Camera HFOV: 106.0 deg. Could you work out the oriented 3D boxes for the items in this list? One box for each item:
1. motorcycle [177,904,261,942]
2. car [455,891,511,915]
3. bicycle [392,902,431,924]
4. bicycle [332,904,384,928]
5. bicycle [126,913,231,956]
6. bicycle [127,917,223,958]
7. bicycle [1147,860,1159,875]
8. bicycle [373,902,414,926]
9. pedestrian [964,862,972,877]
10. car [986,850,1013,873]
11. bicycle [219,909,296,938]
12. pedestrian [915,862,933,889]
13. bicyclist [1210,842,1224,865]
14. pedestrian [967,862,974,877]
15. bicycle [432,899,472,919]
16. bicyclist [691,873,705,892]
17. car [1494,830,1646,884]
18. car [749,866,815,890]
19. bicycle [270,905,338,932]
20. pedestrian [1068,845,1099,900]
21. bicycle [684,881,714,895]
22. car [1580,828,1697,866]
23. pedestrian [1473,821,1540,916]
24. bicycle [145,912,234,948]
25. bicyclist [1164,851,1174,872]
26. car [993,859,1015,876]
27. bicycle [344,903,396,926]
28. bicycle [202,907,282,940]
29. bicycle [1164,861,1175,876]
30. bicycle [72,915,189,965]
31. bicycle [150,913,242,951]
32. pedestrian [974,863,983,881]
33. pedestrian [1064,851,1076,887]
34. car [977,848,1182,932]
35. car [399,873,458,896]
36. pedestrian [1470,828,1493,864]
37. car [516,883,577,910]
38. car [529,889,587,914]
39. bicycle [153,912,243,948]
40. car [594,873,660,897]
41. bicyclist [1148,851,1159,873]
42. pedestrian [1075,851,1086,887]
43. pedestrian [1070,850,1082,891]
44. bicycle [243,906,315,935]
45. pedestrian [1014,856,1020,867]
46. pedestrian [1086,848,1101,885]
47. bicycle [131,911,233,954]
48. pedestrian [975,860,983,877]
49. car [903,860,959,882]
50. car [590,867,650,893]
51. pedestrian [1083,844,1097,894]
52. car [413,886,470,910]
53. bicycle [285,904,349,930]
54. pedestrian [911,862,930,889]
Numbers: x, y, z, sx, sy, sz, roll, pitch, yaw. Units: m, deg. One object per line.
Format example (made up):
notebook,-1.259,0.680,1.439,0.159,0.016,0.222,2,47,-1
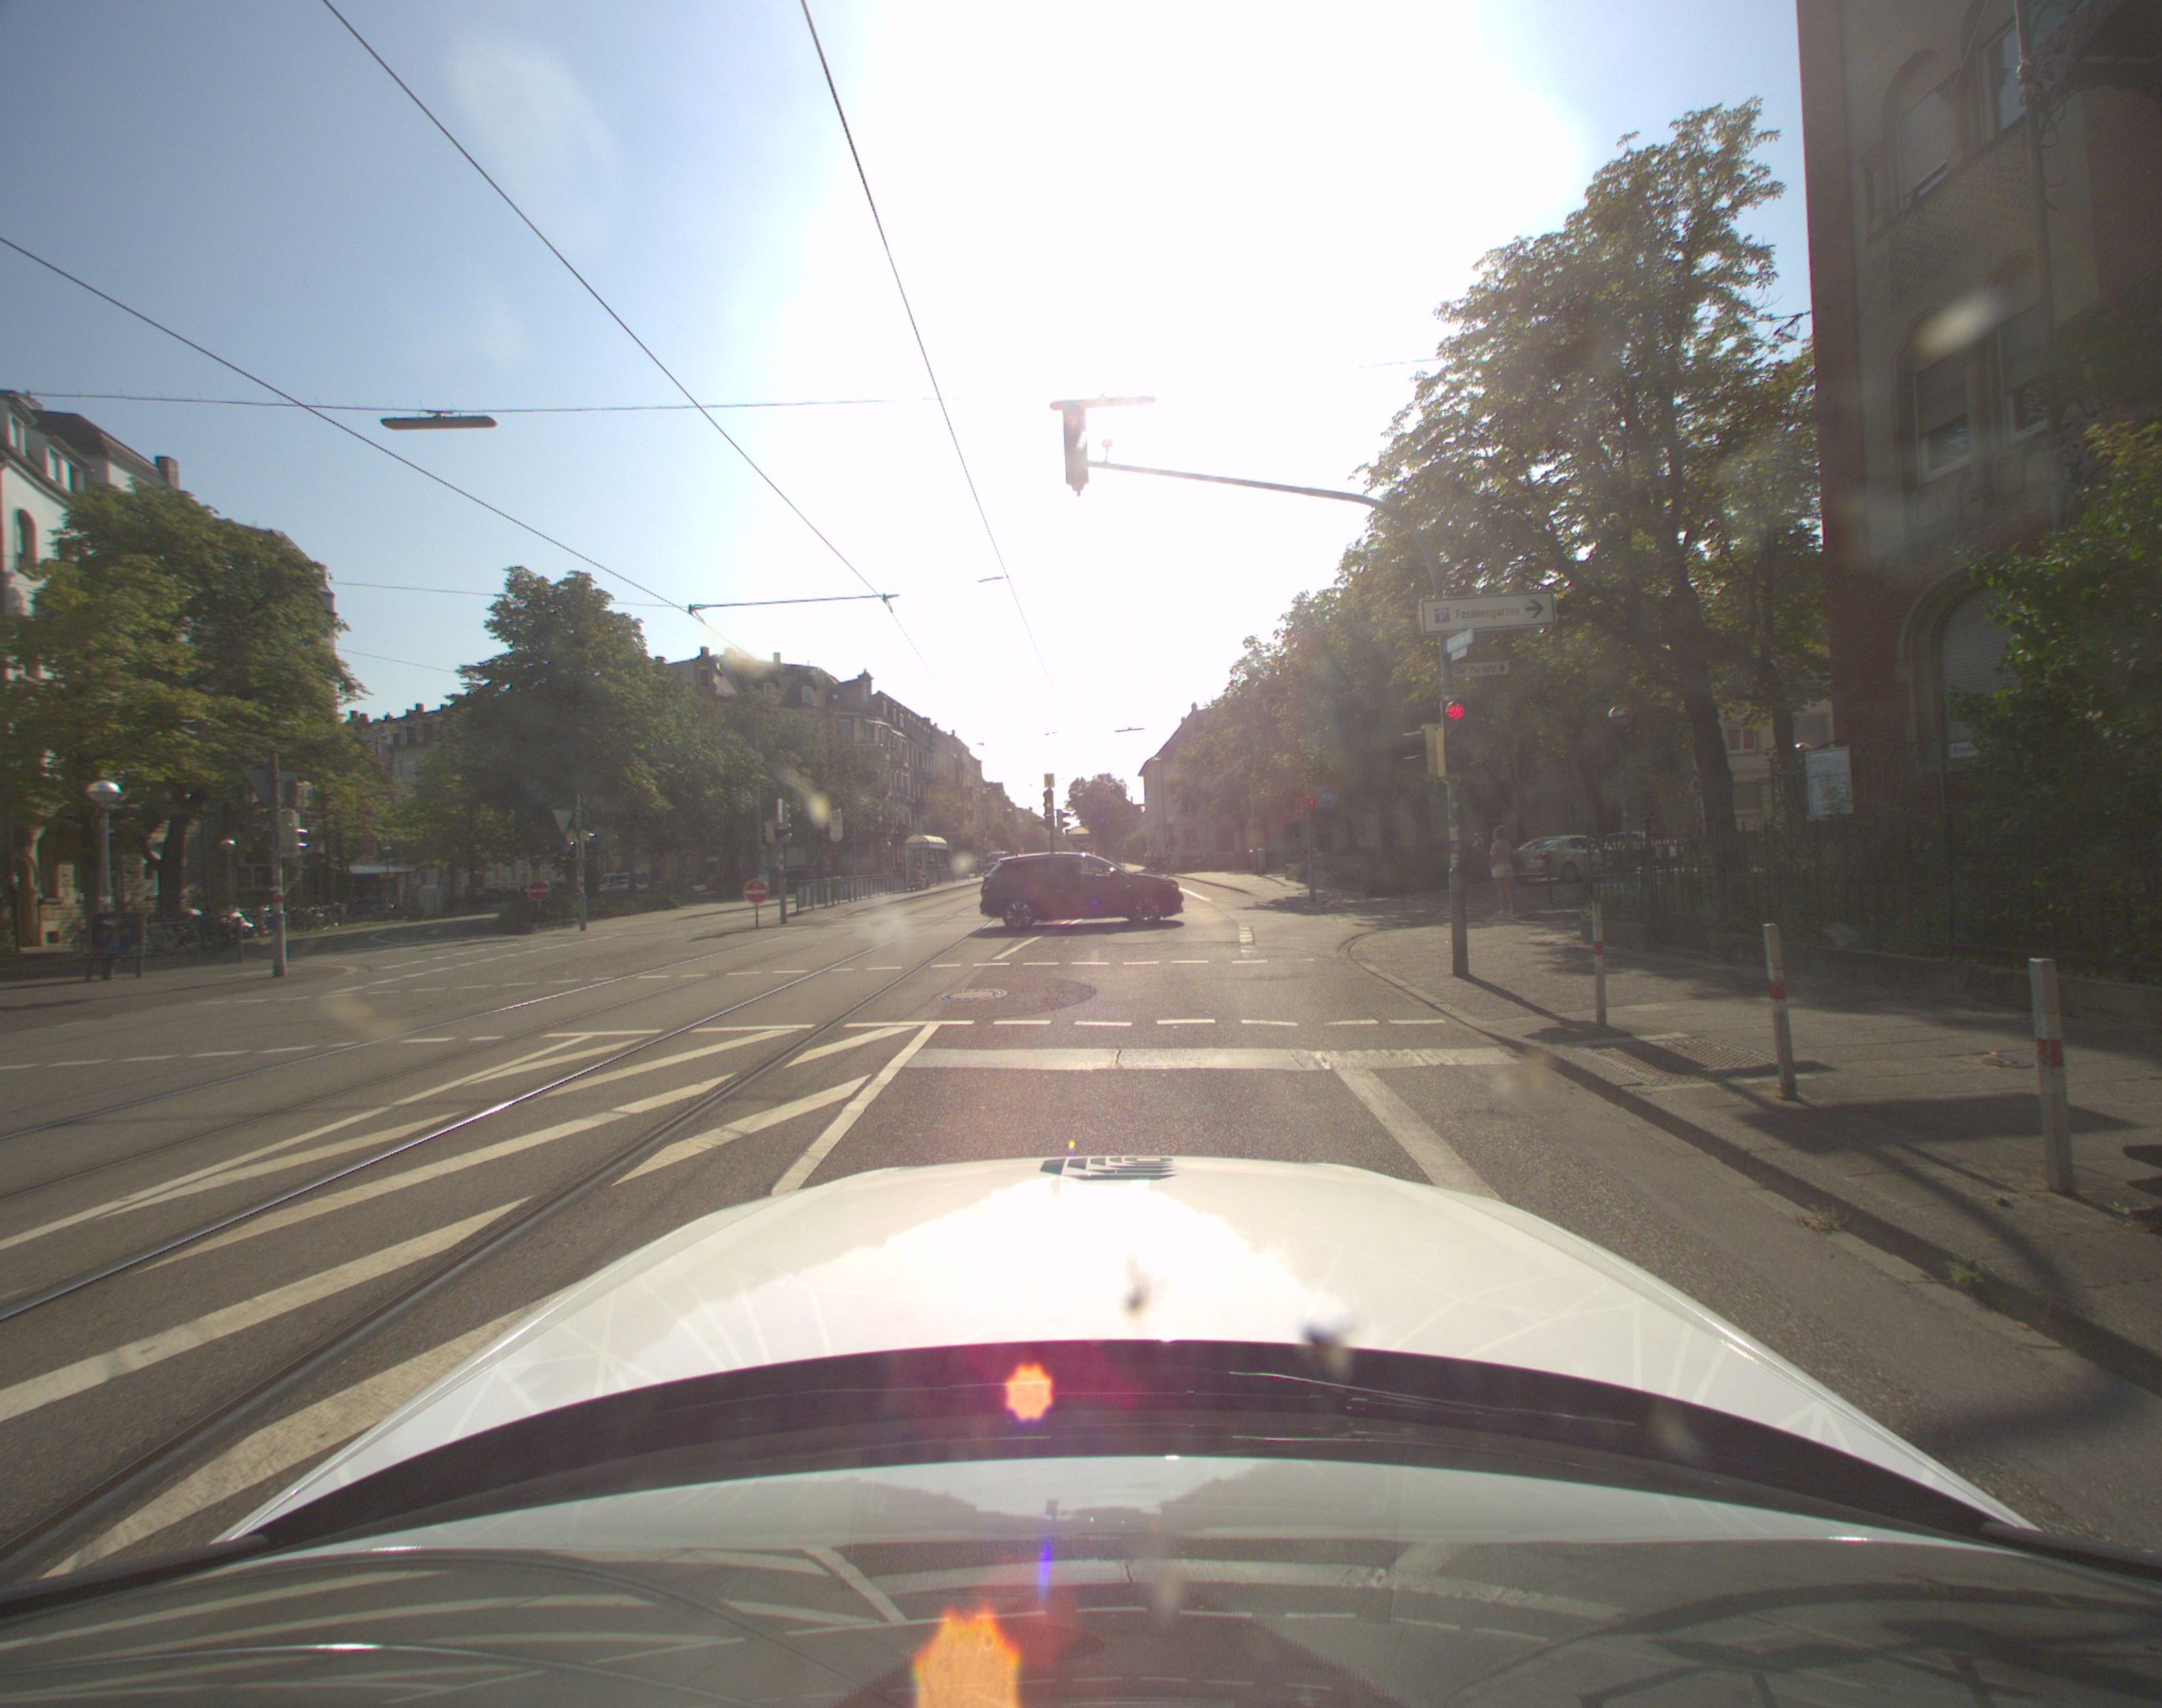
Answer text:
motorcycle,-29.960,2.393,28.335,1.882,1.154,0.601,-2,-1,-33
car,-51.431,4.174,70.035,3.952,1.828,2.011,-3,0,22
bicycle,-32.888,2.887,40.032,0.423,0.978,1.770,-3,0,1
bicycle,-34.382,2.928,38.746,1.771,0.978,0.516,-3,0,-21
bicycle,-24.856,2.198,22.471,0.562,1.003,1.890,-3,-1,37
bicycle,-23.821,2.187,21.439,0.473,0.920,1.619,-3,-1,31
bicycle,5.123,0.970,57.682,0.627,0.978,1.770,-3,0,0
bicycle,-33.268,2.896,39.449,0.423,0.978,1.770,-3,0,1
pedestrian,-13.195,1.831,95.122,0.749,1.731,0.769,-3,-1,-8
car,-10.241,0.951,102.415,2.336,2.662,5.112,-3,0,5
bicycle,-30.823,2.592,30.518,1.919,0.935,0.730,-2,-1,-33
pedestrian,-8.473,1.149,43.930,0.826,1.359,0.775,-3,-1,-4
bicyclist,11.261,-0.003,67.528,0.979,1.857,0.495,-3,-1,14
pedestrian,-13.299,1.871,98.105,0.749,1.731,0.769,-3,-1,-8
bicycle,-33.475,2.922,43.356,1.754,0.978,0.607,-3,0,8
bicyclist,-28.233,2.118,60.054,0.820,1.328,0.546,-3,0,-14
car,15.509,0.070,25.768,4.798,1.466,1.853,-3,0,-28
car,-22.784,1.812,62.078,4.355,1.569,1.978,-3,0,-36
bicycle,-31.734,2.621,33.295,1.908,0.980,0.679,-2,-1,-33
pedestrian,0.078,0.574,26.203,0.693,1.725,0.753,1,2,34
bicycle,-28.154,2.510,60.062,1.853,0.958,0.546,-3,0,-14
car,23.587,-0.282,34.674,1.752,1.428,4.134,-3,0,-8
pedestrian,8.087,0.277,15.502,0.749,1.731,0.769,-3,-1,-8
bicycle,-28.451,2.408,26.027,1.814,0.977,0.652,-2,-1,-40
bicyclist,6.160,0.546,57.123,0.556,1.416,0.871,-3,0,-1
car,-8.237,1.434,87.091,1.794,1.653,3.644,-3,0,2
bicycle,-34.501,2.931,39.524,1.772,0.978,0.601,-3,0,-22
bicycle,-30.246,2.509,29.390,1.885,1.027,0.657,-2,-1,-33
bicycle,6.189,0.992,57.106,0.556,0.978,1.856,-3,0,0
bicycle,-24.714,2.213,21.226,0.563,1.113,1.888,-3,-1,22
bicycle,-26.753,2.341,24.653,1.814,0.984,0.563,-2,-1,-40
pedestrian,-10.564,1.857,83.804,0.747,1.731,0.772,-3,-1,3
pedestrian,-0.559,0.758,41.421,0.530,1.759,0.545,0,2,2
car,-0.071,0.732,17.761,4.208,1.515,1.609,-3,1,-6
car,-57.943,2.721,72.349,3.959,1.828,2.008,-3,0,13
pedestrian,20.117,-0.406,40.957,0.883,1.740,0.780,-3,-1,20
car,-41.346,3.293,62.965,3.951,1.828,2.011,-3,0,23
car,-42.729,3.886,66.502,3.952,1.828,2.011,-3,0,22
bicycle,-27.599,2.362,25.501,1.814,0.983,0.652,-2,-1,-40
car,-33.140,2.269,59.449,4.282,1.569,2.012,-3,0,25
bicyclist,5.109,0.556,57.683,0.627,1.507,0.678,-3,0,-1
pedestrian,-0.031,0.734,39.994,0.541,1.759,0.534,0,2,1
pedestrian,-0.209,0.709,35.178,0.502,1.759,0.534,0,2,1
bicycle,-31.408,2.603,31.929,1.908,0.980,0.679,-2,-1,-33
pedestrian,-10.382,1.262,131.967,0.749,1.731,0.769,-3,-1,-8
pedestrian,0.601,0.589,39.365,0.706,1.759,0.534,0,2,1
bicycle,-25.905,2.246,23.510,1.887,1.034,0.563,-2,-1,-38
pedestrian,-10.743,1.507,86.142,0.749,1.731,0.769,-3,-1,-8
car,-12.580,1.418,68.281,4.334,1.569,1.988,-3,0,-18
car,-35.998,2.001,63.578,3.952,1.828,2.011,-3,0,22
pedestrian,0.335,0.539,30.467,0.502,1.833,0.534,0,2,1
car,-53.607,3.671,68.249,3.952,1.828,2.011,-3,0,22
bicycle,-32.497,2.677,34.645,1.877,0.935,0.635,-2,-1,-17
pedestrian,-8.470,1.143,42.952,0.826,1.359,0.775,-3,-1,-4
